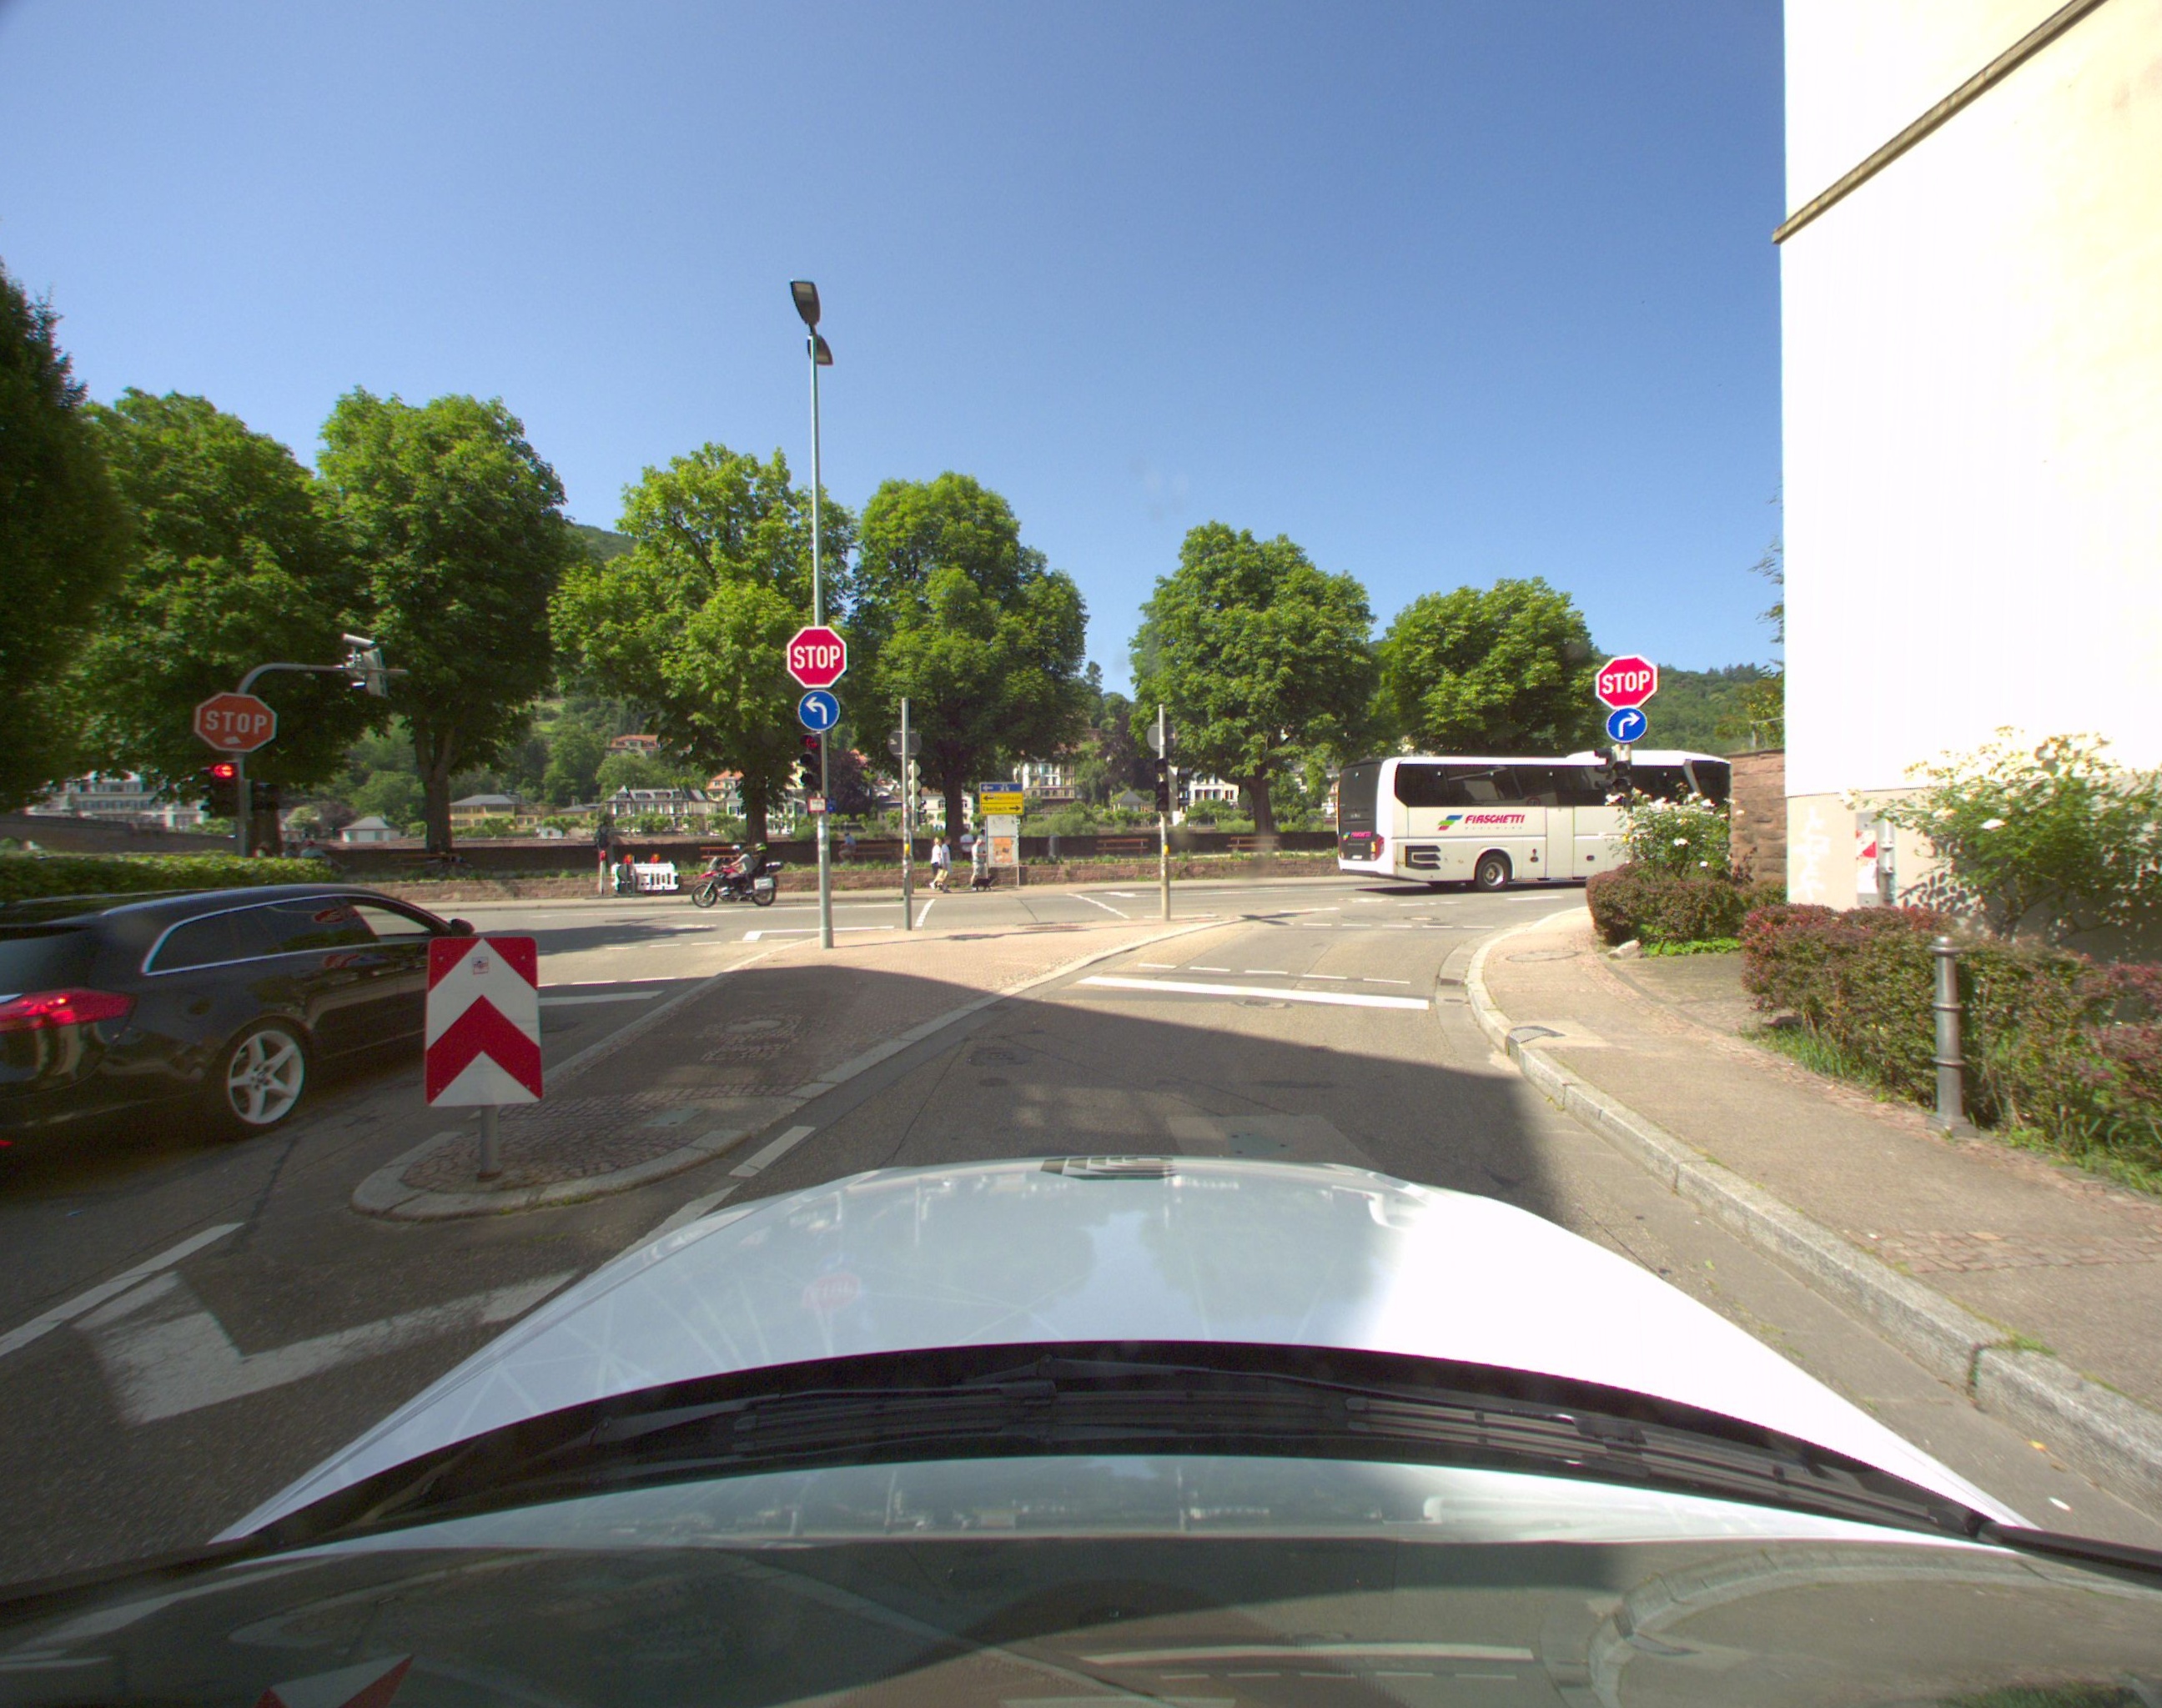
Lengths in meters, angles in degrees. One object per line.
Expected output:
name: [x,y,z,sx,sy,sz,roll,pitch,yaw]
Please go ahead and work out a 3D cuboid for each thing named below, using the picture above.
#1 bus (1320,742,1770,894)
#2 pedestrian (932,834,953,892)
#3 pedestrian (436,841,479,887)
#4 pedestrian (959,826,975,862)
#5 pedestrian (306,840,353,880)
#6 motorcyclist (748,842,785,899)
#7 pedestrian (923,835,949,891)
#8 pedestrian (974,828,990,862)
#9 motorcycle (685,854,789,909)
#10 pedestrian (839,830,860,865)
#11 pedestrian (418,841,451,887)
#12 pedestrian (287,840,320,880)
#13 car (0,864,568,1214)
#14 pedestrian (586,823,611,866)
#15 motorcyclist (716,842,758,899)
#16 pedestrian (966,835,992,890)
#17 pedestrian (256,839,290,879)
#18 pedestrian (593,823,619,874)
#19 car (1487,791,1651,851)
bus: [13.043,-1.010,22.971,12.147,3.788,2.896,-1,0,-12]
pedestrian: [-4.392,0.275,25.881,0.577,1.802,0.703,-1,0,-7]
pedestrian: [-20.913,0.327,27.334,0.466,1.479,1.382,-1,0,-5]
pedestrian: [-4.245,-0.355,30.392,0.552,1.279,0.702,1,-3,-9]
pedestrian: [-24.663,0.176,26.755,0.466,1.270,1.221,-1,0,-5]
motorcyclist: [-8.576,0.434,22.224,0.771,1.493,0.815,-1,0,-12]
pedestrian: [-4.753,0.286,26.708,0.721,1.802,0.632,-2,-1,-7]
pedestrian: [-3.737,-0.329,30.693,0.553,1.228,0.982,1,-3,-9]
motorcycle: [-9.283,0.719,22.056,2.465,1.376,0.760,-1,0,-13]
pedestrian: [-8.361,-0.235,29.360,0.644,1.228,0.411,-2,0,-22]
pedestrian: [-21.427,0.318,27.015,0.466,1.493,0.803,-1,0,-6]
pedestrian: [-25.173,0.175,26.374,0.466,1.270,0.630,-1,0,-6]
car: [-5.706,0.887,5.820,1.714,1.462,4.708,-3,1,-10]
pedestrian: [-19.433,-0.369,32.813,0.710,1.732,0.751,0,-1,-20]
motorcyclist: [-9.313,0.437,22.053,0.872,1.494,0.815,-1,0,-12]
pedestrian: [-3.390,0.288,27.115,0.689,1.769,0.713,-2,-1,-16]
pedestrian: [-26.049,0.169,26.267,0.466,1.270,0.630,-1,0,-6]
pedestrian: [-17.525,-0.205,30.055,0.767,1.858,0.750,0,-1,-28]
car: [15.503,-1.008,25.954,4.399,1.754,1.836,0,-3,-13]
